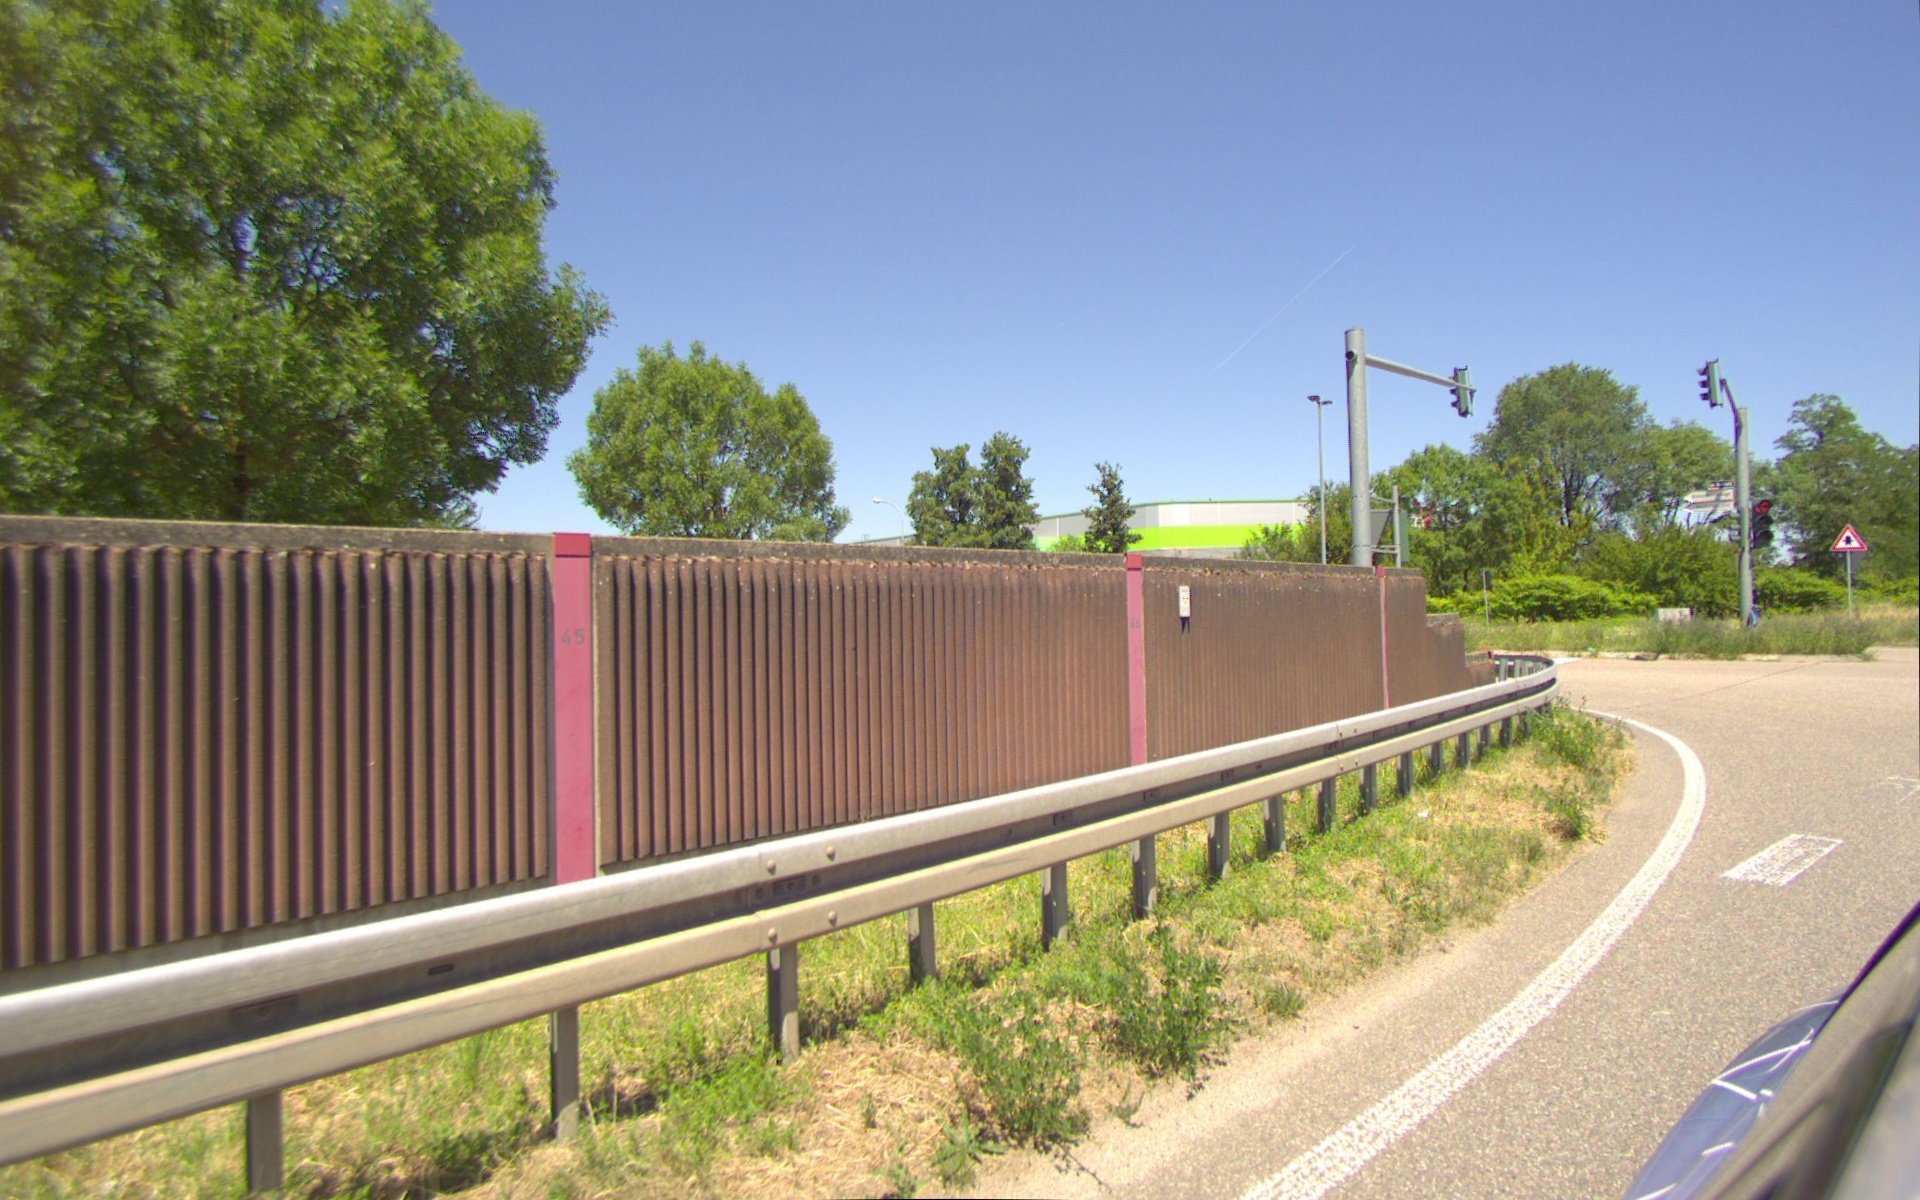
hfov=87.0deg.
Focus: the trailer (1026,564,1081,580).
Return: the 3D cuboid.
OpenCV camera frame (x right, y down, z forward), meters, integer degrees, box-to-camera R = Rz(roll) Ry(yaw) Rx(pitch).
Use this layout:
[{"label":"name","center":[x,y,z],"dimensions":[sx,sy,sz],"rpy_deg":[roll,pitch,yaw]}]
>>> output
[{"label":"trailer","center":[4.890,-1.427,52.716],"dimensions":[2.804,0.748,1.562],"rpy_deg":[-1,1,9]}]
